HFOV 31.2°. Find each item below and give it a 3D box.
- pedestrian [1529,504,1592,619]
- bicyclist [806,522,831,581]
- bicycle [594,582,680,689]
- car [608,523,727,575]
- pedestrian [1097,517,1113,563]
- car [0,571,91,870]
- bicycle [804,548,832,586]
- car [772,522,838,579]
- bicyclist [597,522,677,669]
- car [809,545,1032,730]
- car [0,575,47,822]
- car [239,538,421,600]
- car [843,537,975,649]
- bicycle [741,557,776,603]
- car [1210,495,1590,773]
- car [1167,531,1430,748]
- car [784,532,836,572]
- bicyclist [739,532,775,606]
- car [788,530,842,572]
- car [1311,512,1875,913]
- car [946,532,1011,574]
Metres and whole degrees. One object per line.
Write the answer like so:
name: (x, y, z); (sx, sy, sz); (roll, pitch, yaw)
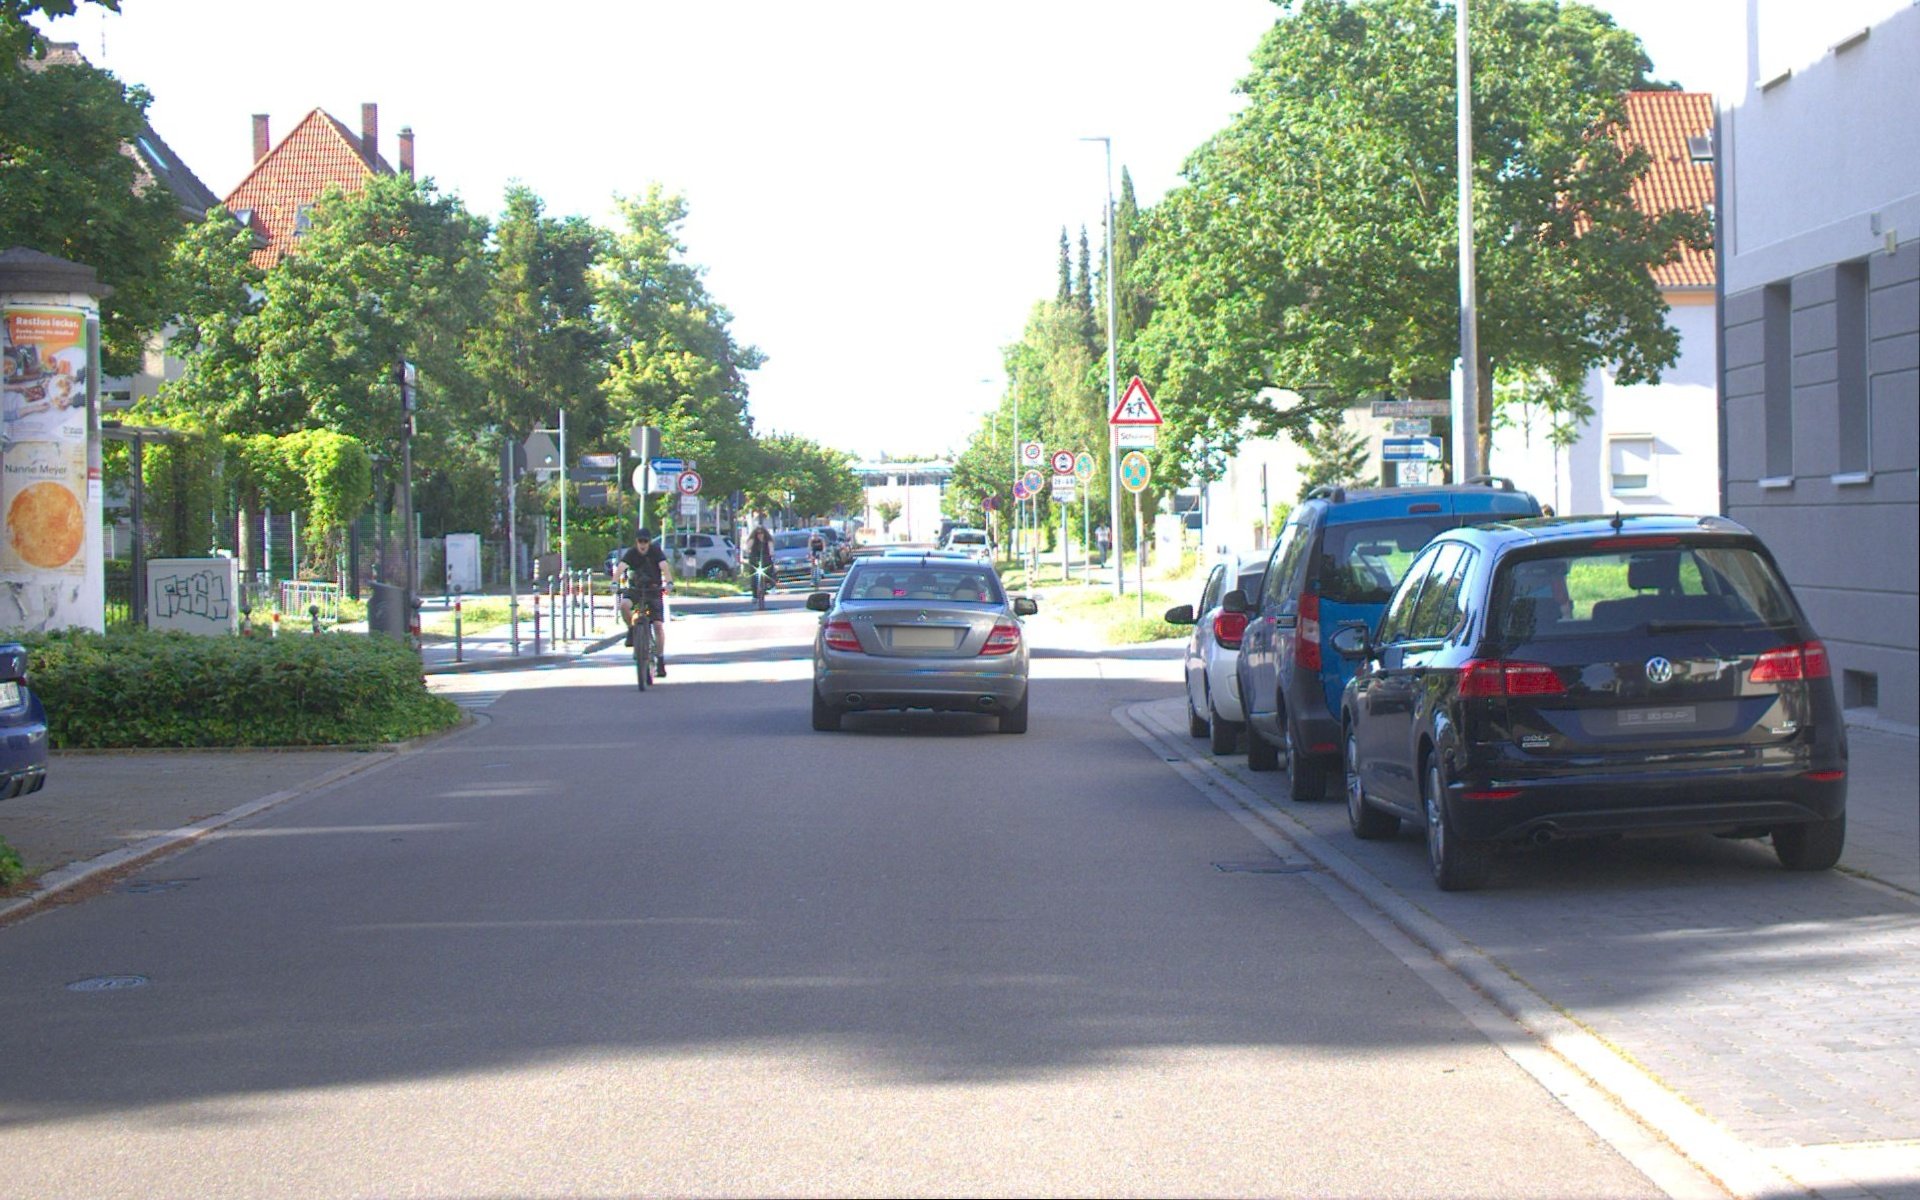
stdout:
pedestrian: (8.610, -0.553, 49.258); (0.647, 1.617, 0.616); (0, 1, 38)
bicyclist: (-3.621, -1.245, 87.863); (0.572, 1.504, 0.655); (-1, 1, 1)
bicycle: (-3.445, 0.366, 36.774); (0.719, 1.075, 1.891); (-1, 1, 0)
car: (-8.782, -1.536, 103.056); (3.493, 1.528, 1.645); (0, 1, -7)
pedestrian: (4.913, -2.039, 116.422); (0.510, 1.554, 0.643); (1, 0, 1)
car: (-6.955, 0.584, 17.796); (4.473, 1.474, 1.869); (0, 0, -2)
bicycle: (-3.630, -0.843, 87.864); (0.589, 0.928, 1.850); (-1, 1, 1)
car: (-4.898, -1.580, 108.388); (1.872, 1.722, 4.001); (-1, 1, -5)
bicyclist: (-3.465, -0.058, 36.911); (0.721, 1.531, 1.137); (-1, 1, 0)
car: (-0.299, 0.292, 28.907); (1.726, 1.415, 3.960); (1, 0, 0)
car: (-7.395, 0.582, 20.247); (3.579, 1.425, 1.731); (0, 1, -1)
car: (-14.855, -0.719, 81.166); (3.986, 1.371, 2.000); (1, 0, -3)
car: (-0.717, -0.096, 47.221); (1.707, 1.443, 4.203); (1, 0, -1)
bicycle: (-4.187, -0.420, 71.532); (0.589, 0.928, 1.850); (-1, 1, 1)
car: (2.635, 0.192, 21.526); (1.682, 1.430, 4.266); (-5, 0, -1)
car: (2.505, 0.277, 26.170); (1.564, 1.406, 3.729); (-5, 0, 1)
car: (-5.772, -1.859, 131.989); (1.787, 1.527, 4.001); (0, 1, -5)
bicyclist: (-4.220, -0.648, 71.567); (0.680, 1.504, 0.655); (-1, 1, 1)
car: (-5.365, -1.808, 126.763); (1.787, 1.527, 4.001); (0, 1, -5)
car: (2.781, 0.411, 16.017); (1.737, 1.526, 4.179); (-3, 1, 0)
car: (0.577, -1.515, 110.805); (1.722, 1.325, 4.001); (0, 1, -5)
